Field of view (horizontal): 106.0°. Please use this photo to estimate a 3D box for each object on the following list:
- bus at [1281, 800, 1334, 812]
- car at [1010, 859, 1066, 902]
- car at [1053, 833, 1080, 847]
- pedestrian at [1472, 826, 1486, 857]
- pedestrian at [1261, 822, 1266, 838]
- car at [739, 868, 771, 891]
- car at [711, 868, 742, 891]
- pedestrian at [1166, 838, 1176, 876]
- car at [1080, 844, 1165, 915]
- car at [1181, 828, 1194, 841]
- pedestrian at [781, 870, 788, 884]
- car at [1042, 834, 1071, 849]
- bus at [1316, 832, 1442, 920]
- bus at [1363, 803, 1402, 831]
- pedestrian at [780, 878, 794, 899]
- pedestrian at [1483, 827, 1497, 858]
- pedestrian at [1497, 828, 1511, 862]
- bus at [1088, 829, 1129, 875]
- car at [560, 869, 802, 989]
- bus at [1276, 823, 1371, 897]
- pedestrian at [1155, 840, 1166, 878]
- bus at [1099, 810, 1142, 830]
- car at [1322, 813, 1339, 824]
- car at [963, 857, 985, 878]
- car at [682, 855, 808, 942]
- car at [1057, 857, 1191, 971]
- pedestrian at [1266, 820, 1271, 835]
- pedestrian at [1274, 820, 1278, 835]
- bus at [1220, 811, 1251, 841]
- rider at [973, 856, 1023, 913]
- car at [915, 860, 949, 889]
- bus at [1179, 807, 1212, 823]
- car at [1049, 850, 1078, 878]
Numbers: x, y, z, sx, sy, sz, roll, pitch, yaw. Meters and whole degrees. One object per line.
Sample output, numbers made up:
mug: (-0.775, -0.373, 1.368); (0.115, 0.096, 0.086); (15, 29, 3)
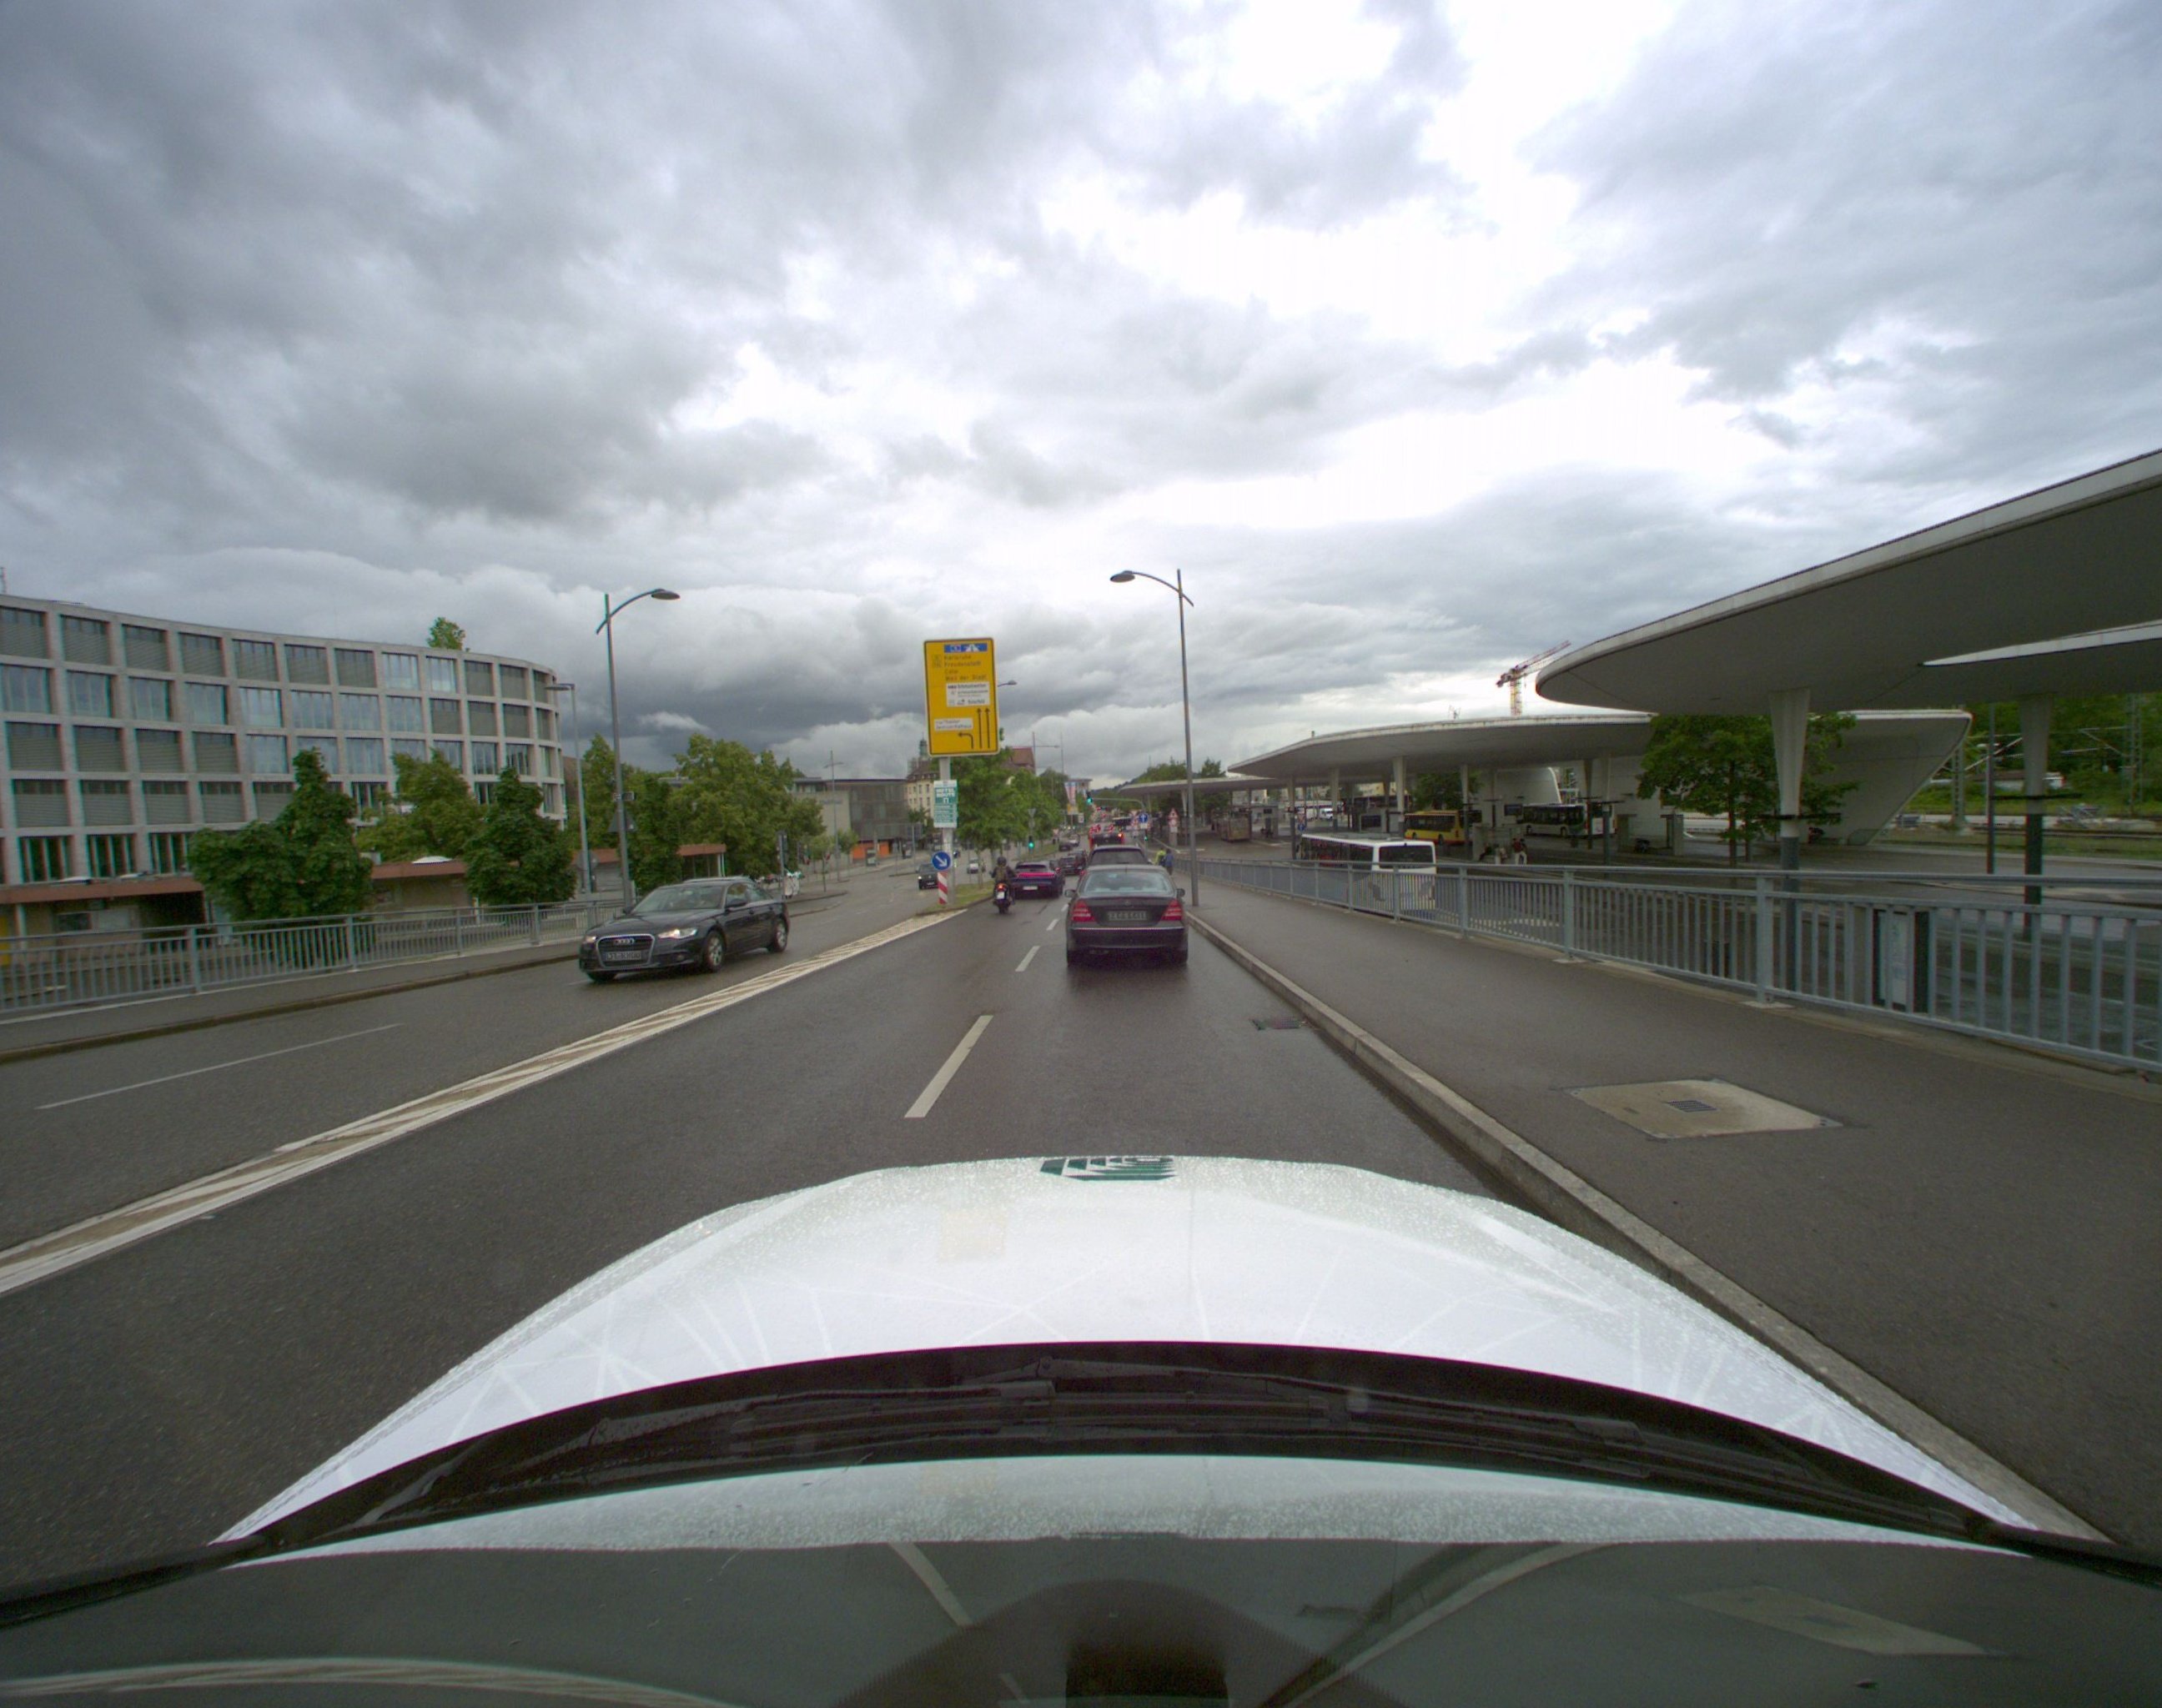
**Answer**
bus: (46.272, -9.784, 166.405); (10.140, 2.013, 2.169); (-3, 1, -2)
car: (-1.568, 0.946, 31.122); (1.753, 1.436, 4.002); (-1, 1, 2)
car: (-2.356, -2.244, 130.152); (3.967, 2.013, 2.004); (-3, 1, 6)
pedestrian: (26.448, -0.853, 54.135); (0.541, 2.013, 0.580); (-3, 0, 2)
pedestrian: (22.802, -3.015, 101.746); (0.422, 2.013, 0.484); (-3, 0, 4)
car: (-32.351, 2.536, 80.782); (2.008, 2.013, 3.958); (2, 1, -35)
car: (-34.460, 2.480, 79.068); (2.008, 2.013, 3.958); (2, 1, -35)
pedestrian: (4.823, 0.190, 43.800); (0.422, 2.014, 0.484); (-3, -2, 4)
car: (1.203, 0.587, 21.678); (1.816, 1.687, 4.010); (-1, 1, 9)
car: (17.170, -3.113, 130.875); (1.983, 2.013, 4.009); (-3, 1, 7)
pedestrian: (-20.508, 1.590, 56.270); (0.299, 0.873, 0.299); (-3, 2, 4)
car: (-3.621, -1.829, 119.730); (3.967, 2.013, 2.004); (-3, 1, 6)
bus: (12.696, 0.762, 35.421); (2.639, 3.236, 7.068); (-3, 2, -1)
bus: (37.297, -4.570, 101.068); (2.589, 3.209, 7.002); (-3, 2, 4)
pedestrian: (-20.371, 2.386, 56.375); (0.645, 1.408, 0.531); (-3, 2, 4)
pedestrian: (26.395, -0.744, 52.597); (0.541, 2.013, 0.580); (-3, 0, 2)
pedestrian: (26.067, -0.559, 50.179); (0.558, 2.013, 0.484); (-3, 0, 4)
bus: (2.069, -0.186, 62.525); (2.817, 3.189, 10.313); (-1, 0, 2)
car: (-6.474, 1.102, 13.874); (1.828, 1.526, 4.592); (-4, 0, -1)
bus: (12.475, 0.157, 42.538); (2.639, 3.235, 7.069); (-3, 4, -1)
pedestrian: (4.260, 0.258, 43.779); (0.487, 2.014, 0.470); (-3, -2, 4)
bus: (8.776, -7.601, 182.787); (3.282, 4.006, 10.773); (-6, 5, -36)
car: (47.212, -6.697, 153.929); (1.986, 2.013, 4.002); (-3, 2, 1)
car: (-10.978, 1.418, 83.677); (1.990, 2.014, 4.195); (-3, -1, -5)
car: (-8.955, 1.105, 22.103); (1.991, 2.013, 3.992); (-3, 0, -6)
car: (0.699, 0.777, 12.318); (1.698, 1.419, 3.730); (-1, 0, 4)
pedestrian: (25.103, -3.577, 109.148); (0.422, 2.013, 0.484); (-3, 0, 4)
pedestrian: (25.319, -3.437, 105.686); (0.422, 2.014, 0.484); (-3, -2, 4)
bus: (20.598, -3.652, 109.006); (3.162, 3.600, 10.529); (-3, 0, 6)
rider: (-2.280, 0.818, 22.810); (0.876, 1.472, 2.201); (-1, 0, 8)
car: (-11.178, 1.518, 61.330); (1.990, 2.014, 4.195); (-3, -1, -5)
bus: (26.384, -8.972, 187.767); (7.180, 3.396, 3.080); (-3, 2, -2)
car: (-1.278, 0.698, 62.104); (1.986, 2.006, 4.001); (-1, 1, 1)
